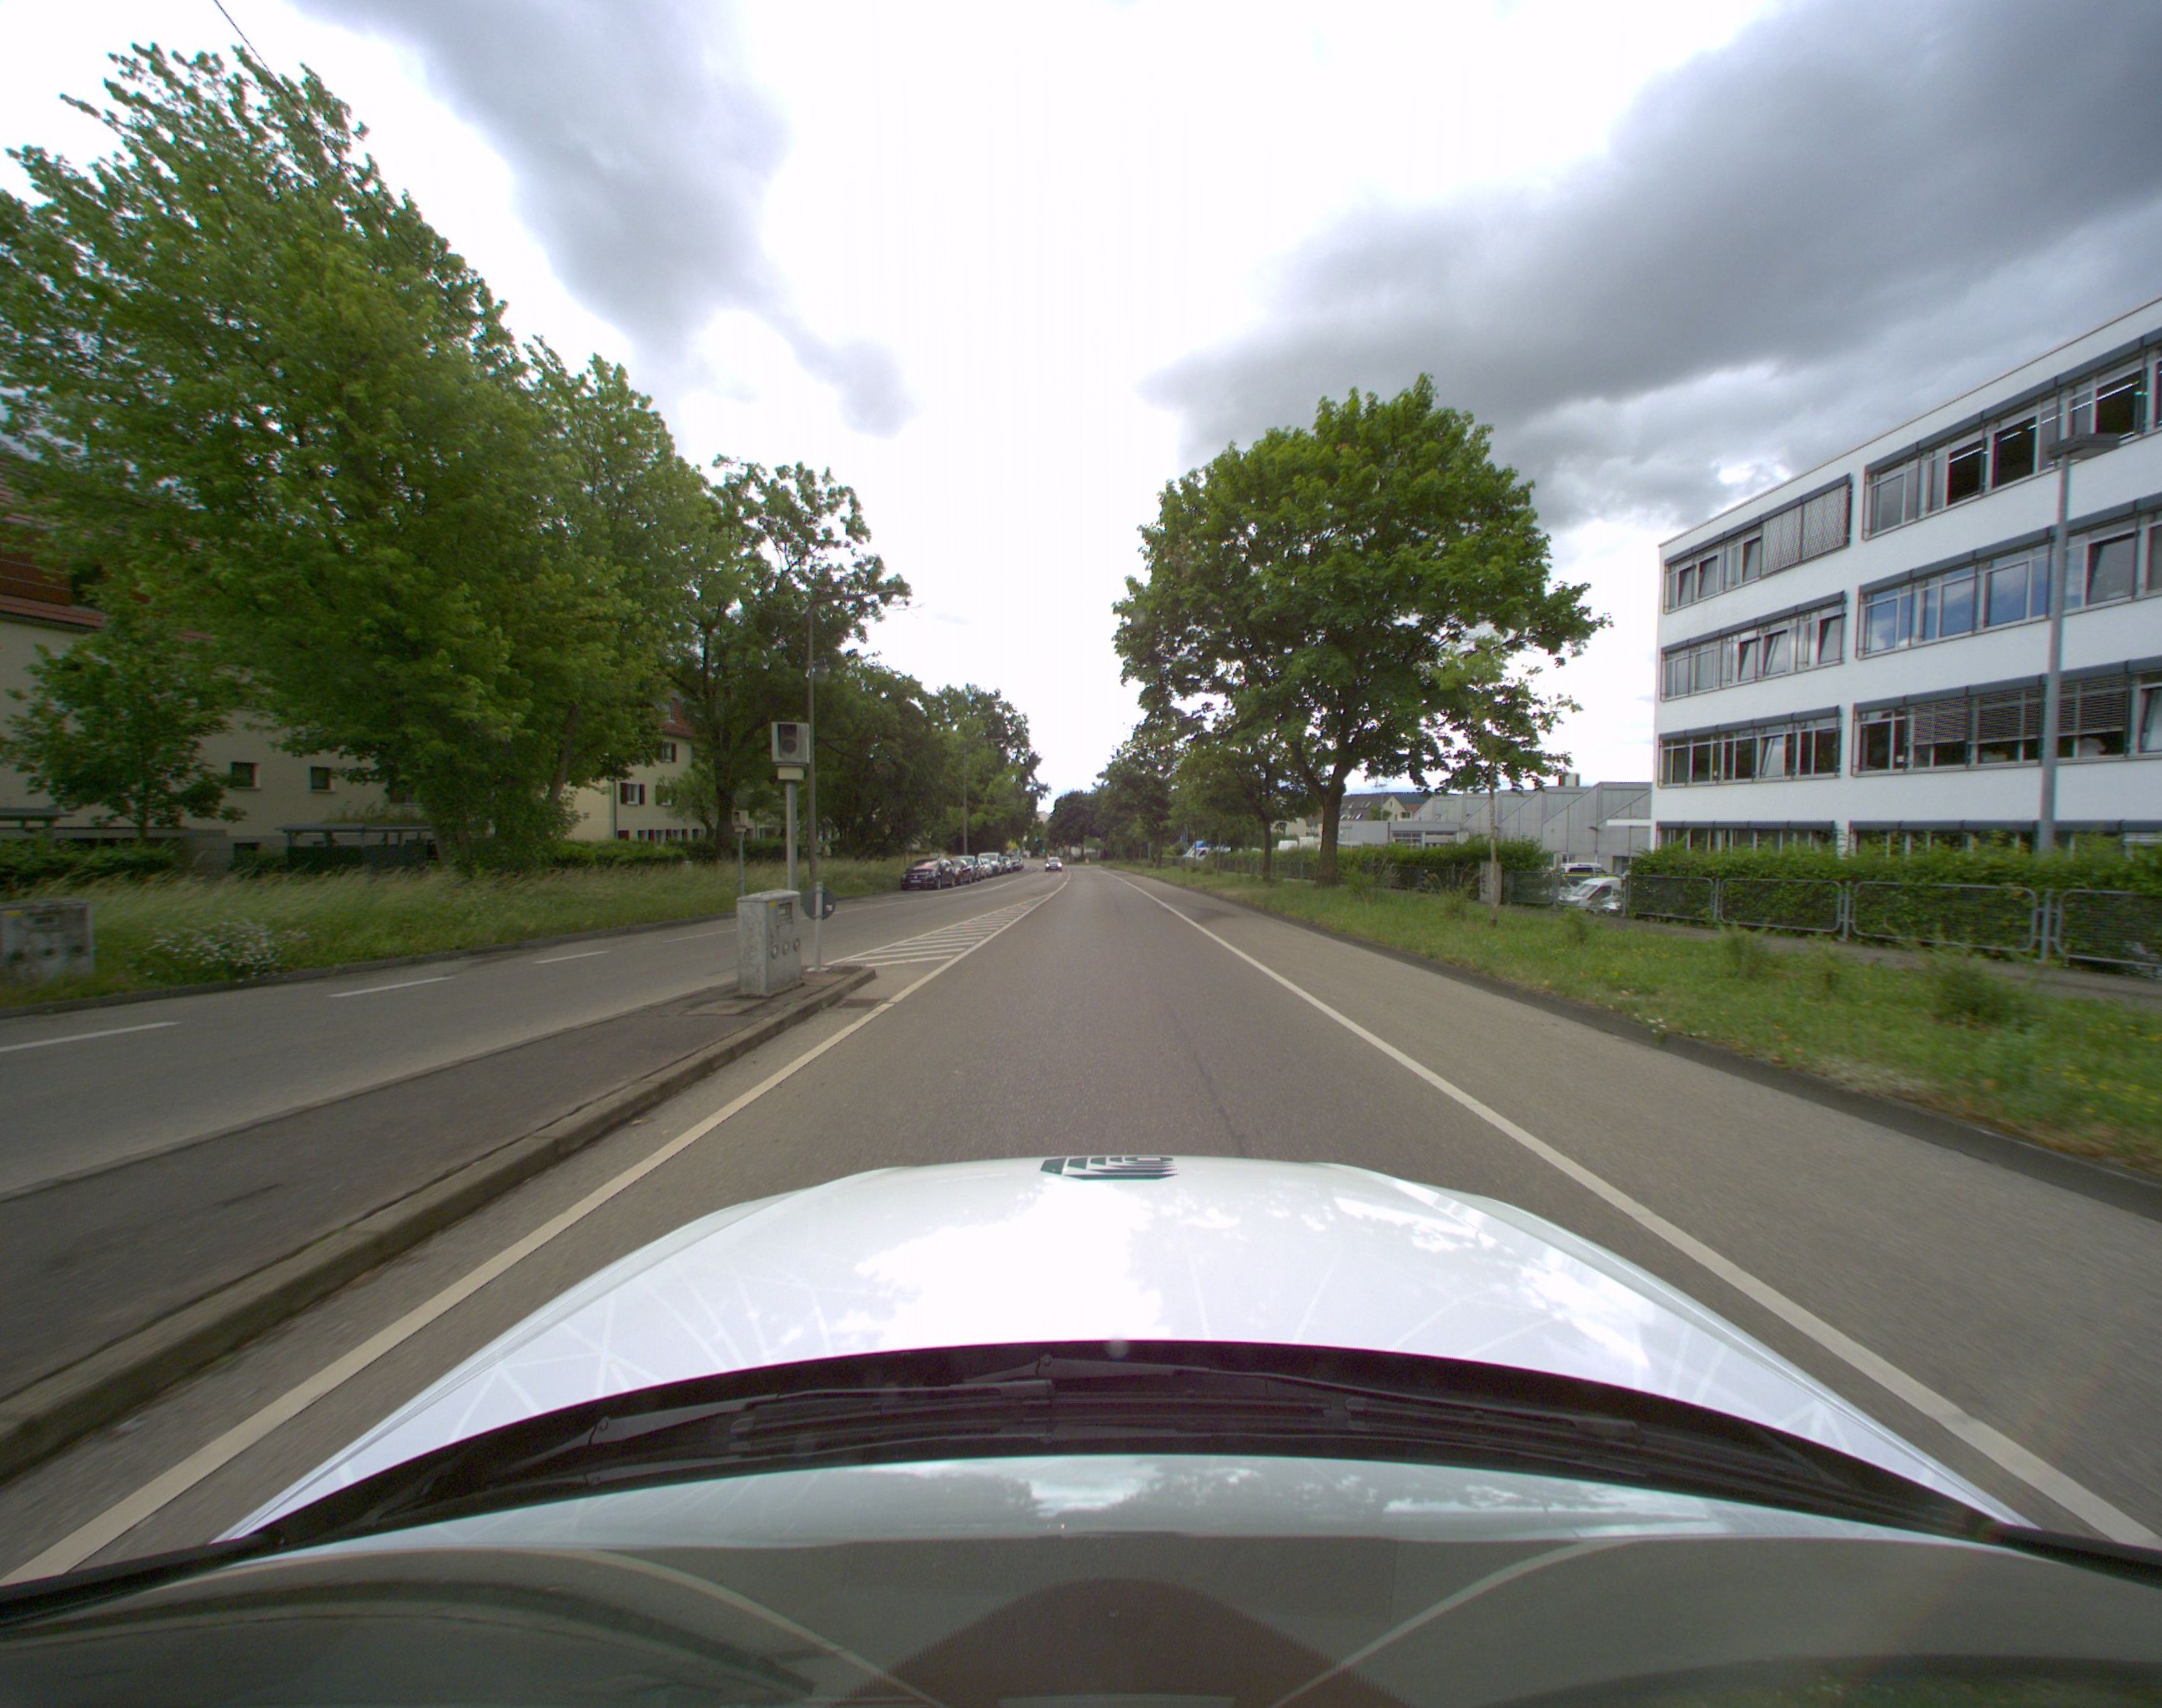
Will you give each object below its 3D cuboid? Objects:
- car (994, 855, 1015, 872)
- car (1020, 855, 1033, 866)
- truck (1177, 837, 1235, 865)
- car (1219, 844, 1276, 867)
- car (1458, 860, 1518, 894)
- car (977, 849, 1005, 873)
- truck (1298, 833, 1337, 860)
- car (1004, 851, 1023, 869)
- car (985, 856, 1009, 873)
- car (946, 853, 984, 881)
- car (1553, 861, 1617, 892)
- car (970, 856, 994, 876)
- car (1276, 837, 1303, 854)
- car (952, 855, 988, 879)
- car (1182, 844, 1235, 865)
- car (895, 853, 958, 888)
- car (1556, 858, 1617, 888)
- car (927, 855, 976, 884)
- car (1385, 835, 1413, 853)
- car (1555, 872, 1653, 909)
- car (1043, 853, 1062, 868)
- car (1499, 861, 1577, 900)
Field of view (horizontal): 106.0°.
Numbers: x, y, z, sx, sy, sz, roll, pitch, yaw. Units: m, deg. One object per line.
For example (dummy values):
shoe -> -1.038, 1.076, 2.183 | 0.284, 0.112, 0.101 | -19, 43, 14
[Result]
car -> -7.341, 0.899, 78.489 | 1.669, 1.564, 4.278 | -1, 0, -2
car -> -8.077, 0.960, 120.328 | 1.763, 1.573, 4.755 | -1, -1, -3
truck -> 16.276, -0.458, 105.822 | 7.200, 3.477, 2.597 | -1, 0, -26
car -> 16.136, 0.124, 78.929 | 5.271, 2.188, 2.054 | 0, -1, -26
car -> 26.350, 1.440, 52.879 | 1.986, 2.145, 4.002 | 0, 0, 2
car -> -7.398, 0.557, 67.342 | 1.762, 1.931, 5.154 | 0, 0, 0
truck -> 31.193, -0.923, 107.720 | 2.841, 3.459, 9.548 | 0, 0, 3
car -> -7.707, 0.702, 93.135 | 1.861, 1.963, 5.123 | -1, 0, -2
car -> -7.487, 0.922, 73.059 | 1.667, 1.488, 4.045 | -2, 0, 1
car -> -7.064, 0.751, 49.867 | 1.762, 1.592, 4.133 | -1, 0, -1
car -> 40.833, 1.792, 66.098 | 3.970, 2.469, 2.002 | 0, -1, 3
car -> -7.439, 0.874, 61.440 | 1.632, 1.433, 3.944 | 0, 0, -4
car -> 34.741, -1.479, 135.666 | 2.233, 2.676, 5.485 | 0, 2, 38
car -> -7.638, 0.869, 56.565 | 1.761, 1.495, 4.358 | -2, 0, 1
car -> 15.296, 0.074, 97.824 | 6.039, 2.367, 2.343 | 0, 0, -25
car -> -7.319, 0.765, 38.986 | 1.867, 1.570, 4.655 | 0, 0, 3
car -> 42.778, 1.595, 68.947 | 3.970, 2.469, 2.002 | 0, -1, 3
car -> -6.989, 0.815, 44.304 | 1.761, 1.447, 4.152 | -1, 0, 3
car -> 51.450, -1.690, 131.649 | 2.234, 2.676, 5.483 | 0, 3, 43
car -> 28.096, 1.934, 43.846 | 3.970, 1.875, 2.002 | 0, 0, 3
car -> -2.924, 0.658, 84.072 | 1.631, 1.467, 4.000 | -2, 0, 1
car -> 29.678, 1.688, 52.945 | 3.970, 2.472, 2.002 | 0, -1, 3
